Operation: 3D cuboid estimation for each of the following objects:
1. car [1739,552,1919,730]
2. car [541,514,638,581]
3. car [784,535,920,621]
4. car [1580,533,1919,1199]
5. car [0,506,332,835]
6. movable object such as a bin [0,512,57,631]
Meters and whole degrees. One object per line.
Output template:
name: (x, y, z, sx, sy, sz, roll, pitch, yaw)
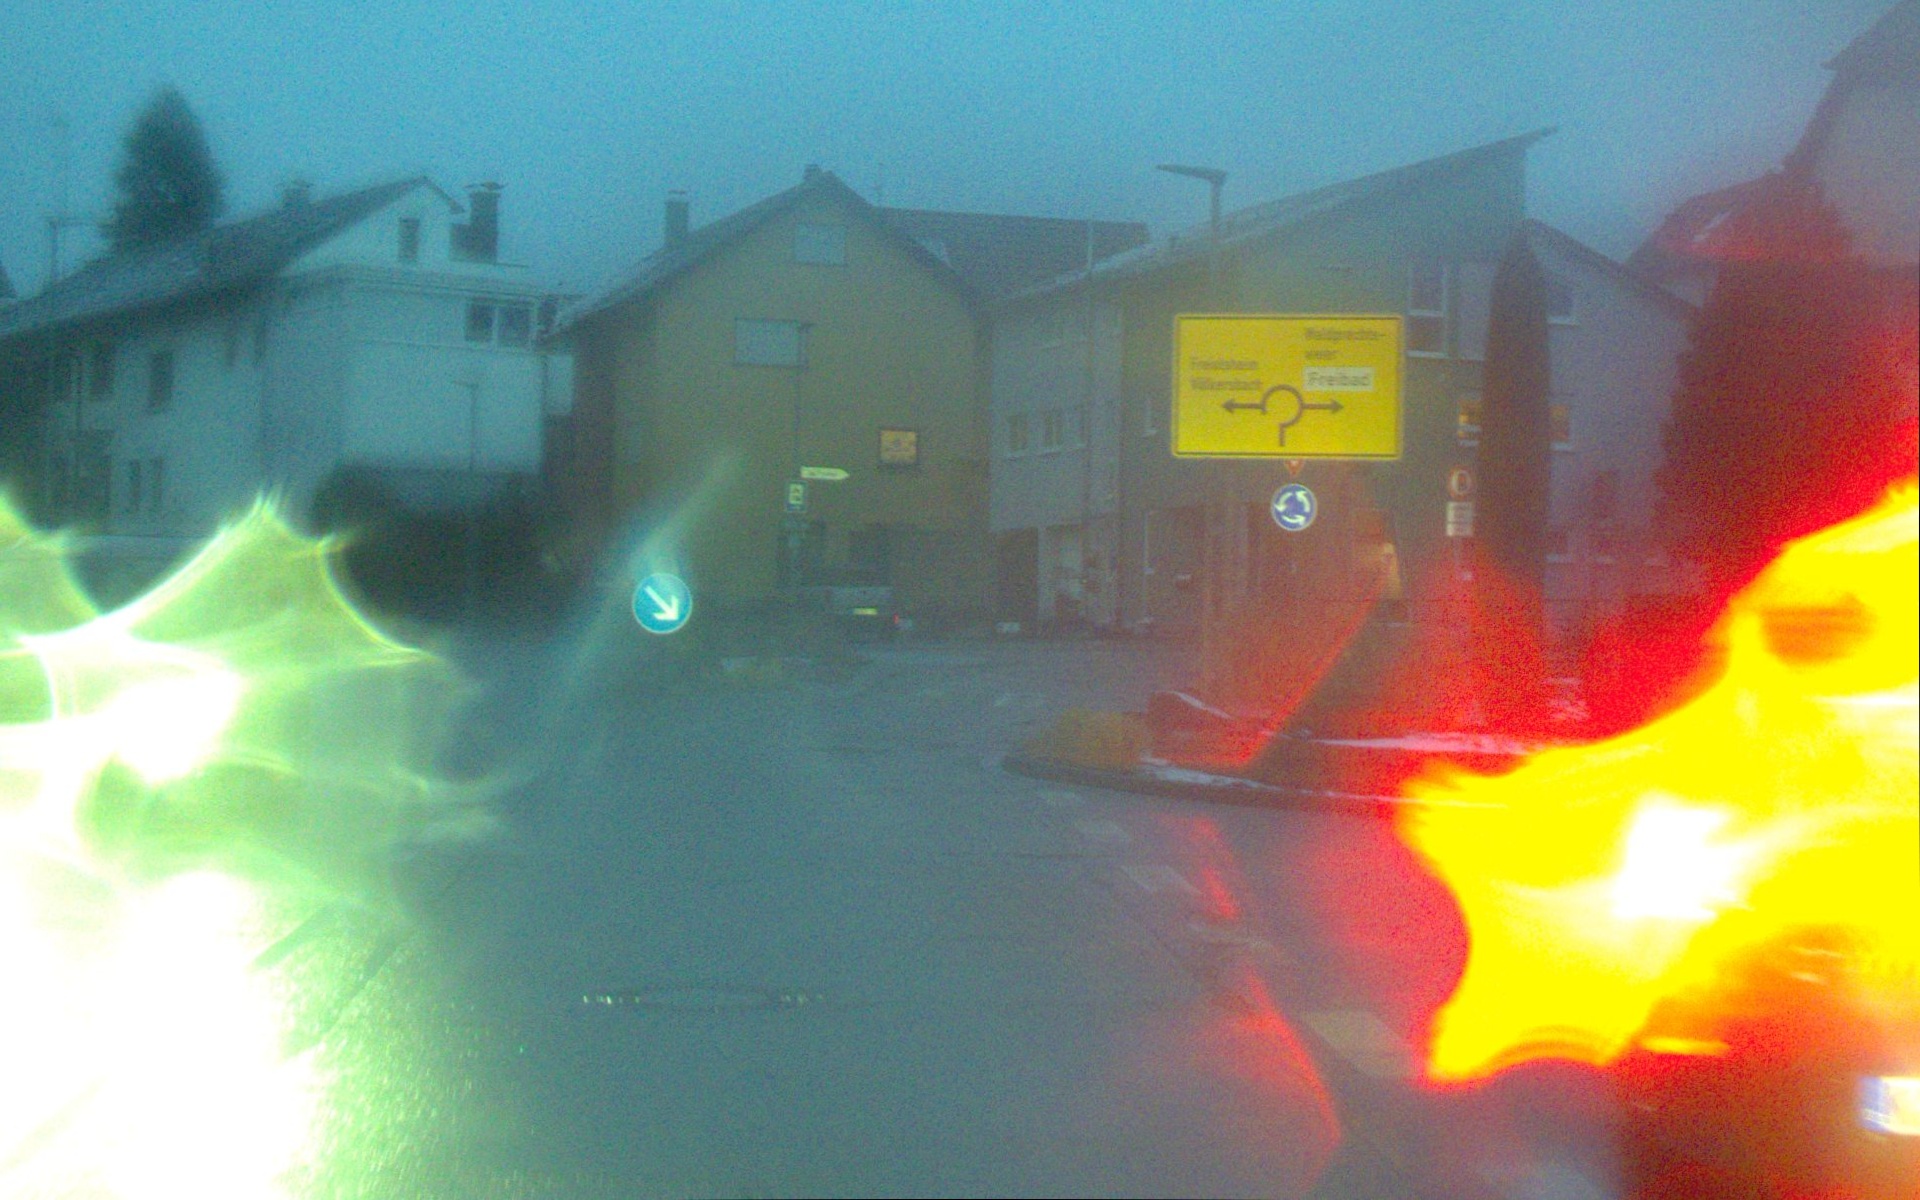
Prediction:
car: (9.602, 0.368, 32.401, 1.809, 1.623, 4.552, -2, 1, -29)
car: (-9.684, -1.392, 89.662, 1.993, 1.638, 4.001, 1, 1, -13)
car: (-2.261, -0.468, 70.925, 1.993, 1.638, 4.001, 1, 1, -13)
car: (2.582, 0.599, 8.213, 1.547, 1.461, 3.695, 1, 1, 20)
car: (-4.659, 0.315, 19.623, 1.912, 1.647, 4.001, 1, 1, -8)
movable object such as a bin: (-12.495, -0.382, 45.004, 1.096, 1.538, 1.289, 1, 1, -5)
